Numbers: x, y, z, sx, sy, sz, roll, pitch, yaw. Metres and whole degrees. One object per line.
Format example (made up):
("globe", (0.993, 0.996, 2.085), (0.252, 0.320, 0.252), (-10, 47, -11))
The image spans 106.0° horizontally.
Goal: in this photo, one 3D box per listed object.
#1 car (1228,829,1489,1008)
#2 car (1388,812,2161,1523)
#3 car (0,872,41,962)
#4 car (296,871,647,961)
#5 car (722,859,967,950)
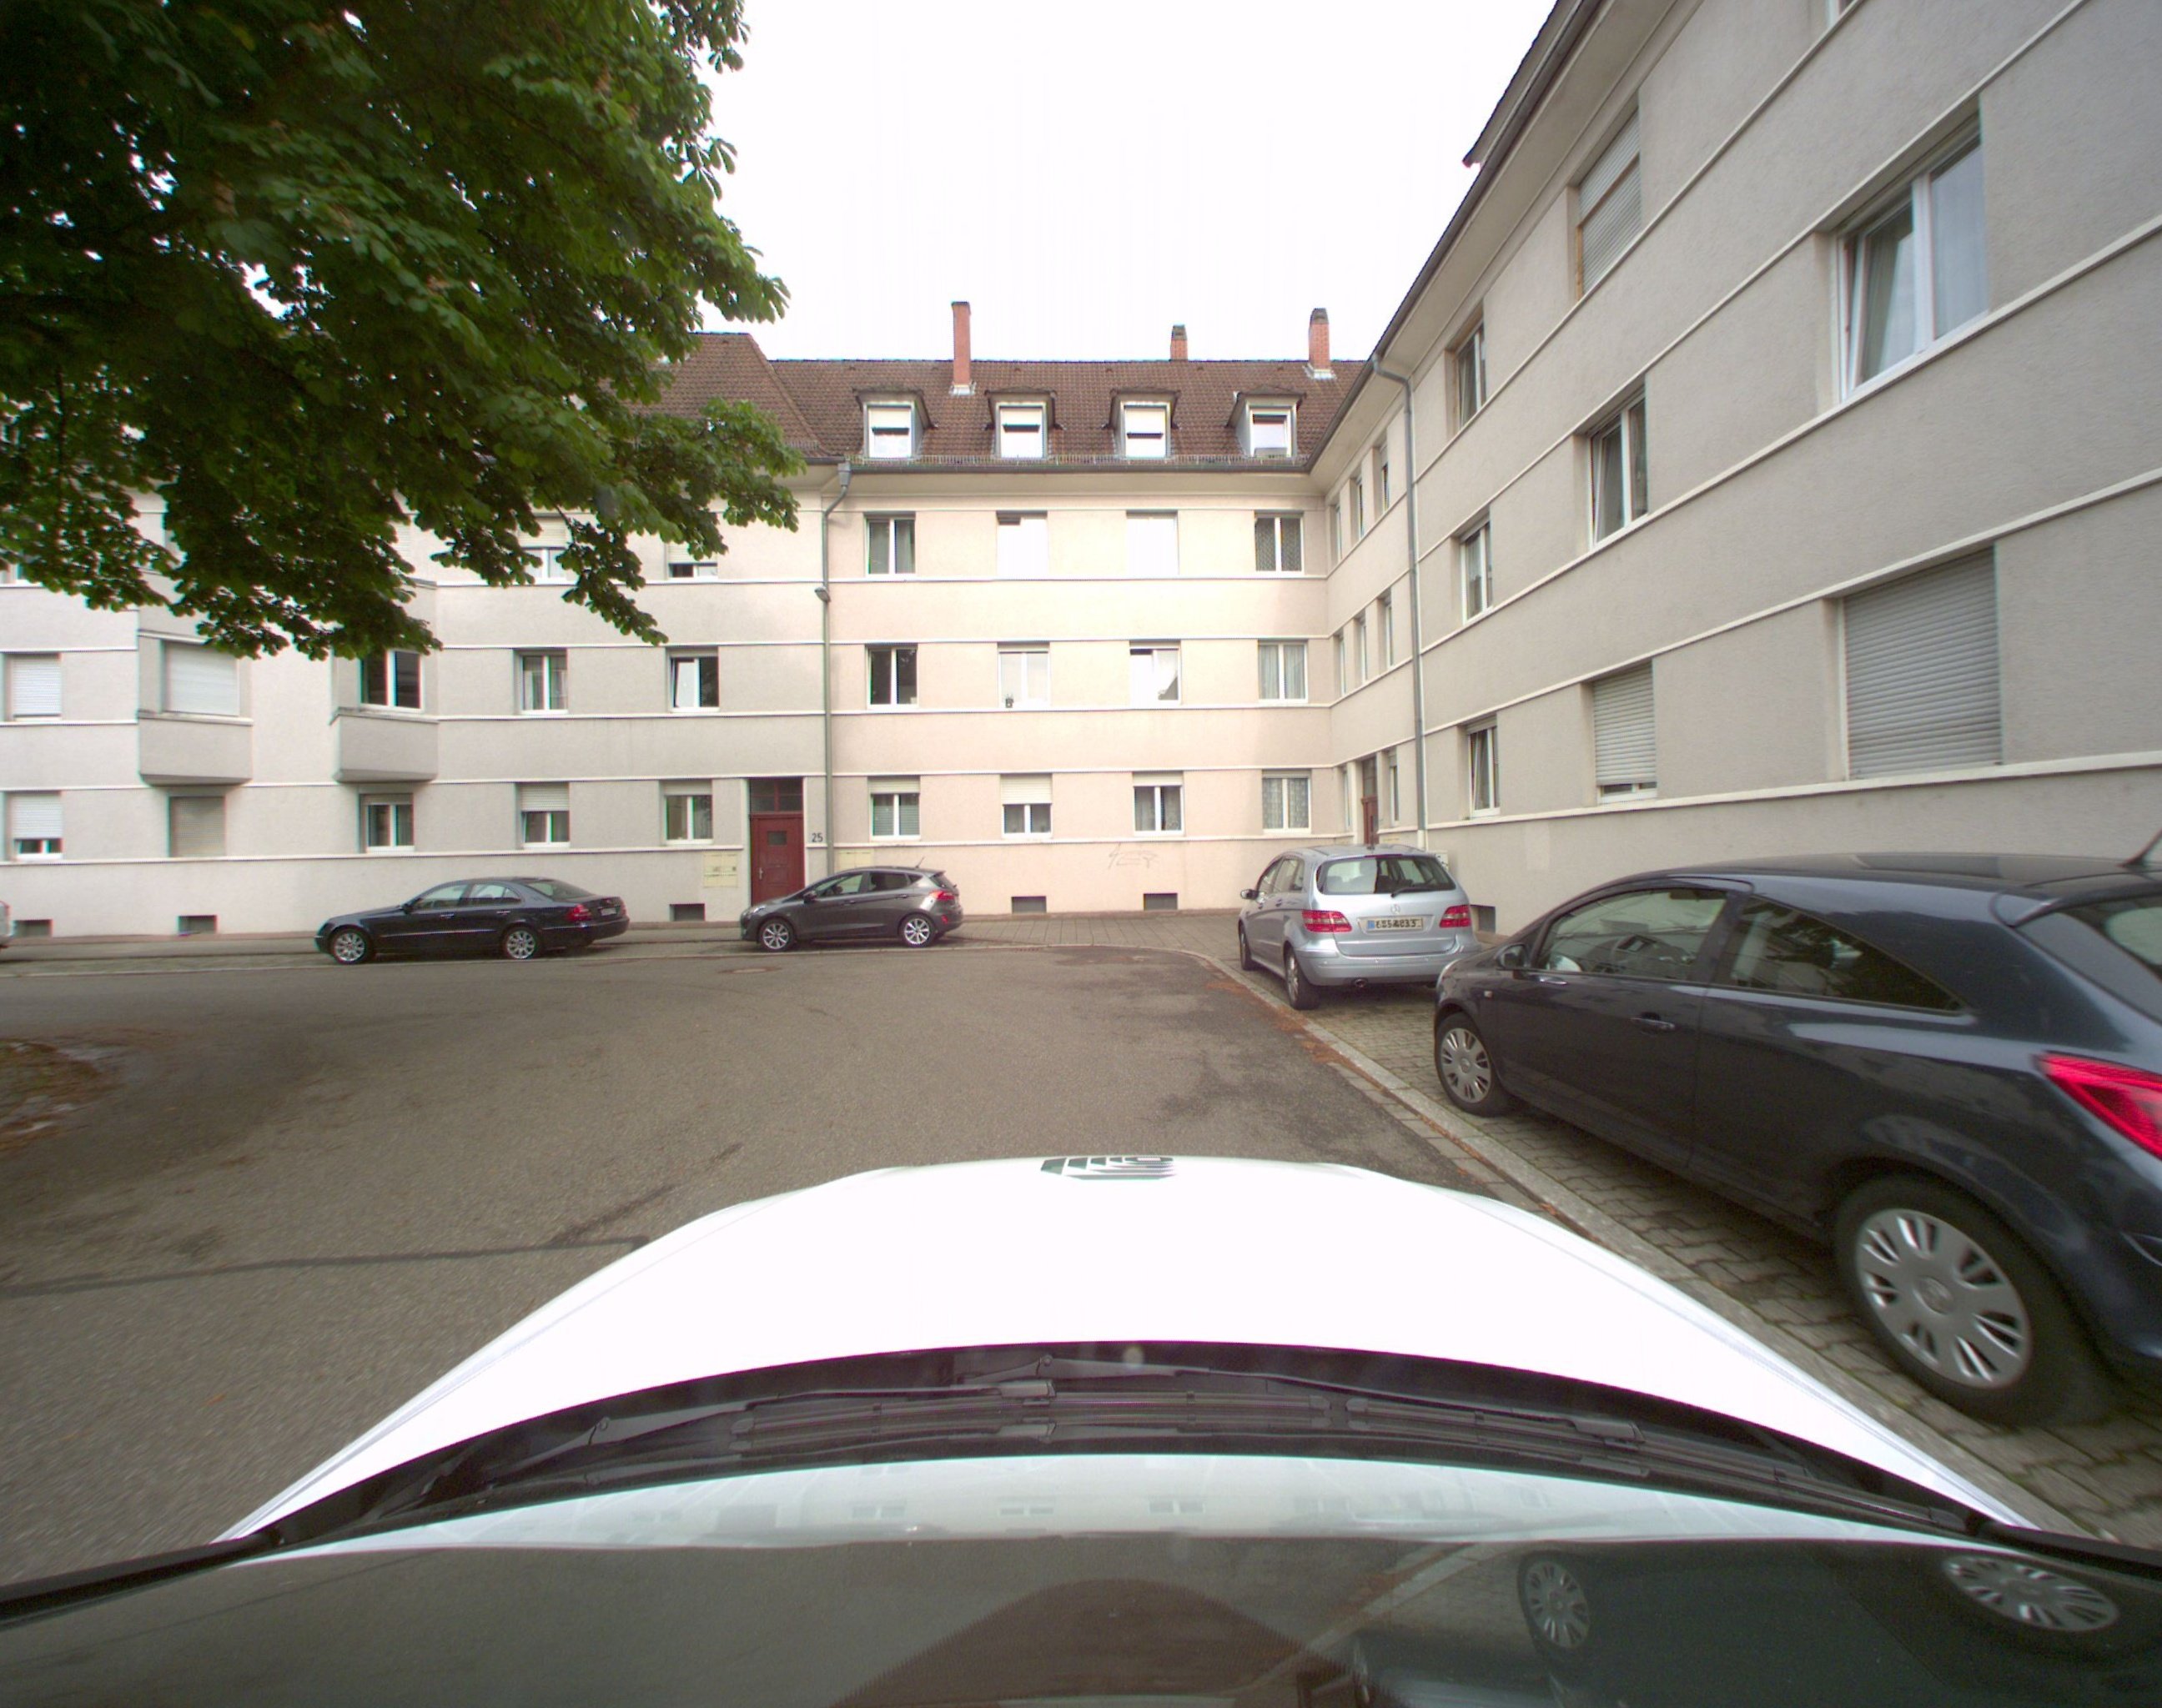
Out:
("car", (2.937, 0.627, 9.626), (1.750, 1.628, 4.201), (-1, -1, 2))
("car", (3.043, 0.674, 3.712), (1.751, 1.490, 3.935), (-1, -1, -1))
("car", (-22.316, 1.221, 14.769), (4.266, 1.673, 1.846), (-1, 1, -4))
("car", (-10.853, 1.069, 14.800), (4.922, 1.421, 1.749), (-1, 0, -3))
("car", (-4.260, 0.884, 15.184), (4.056, 1.525, 1.761), (-1, 0, -3))
